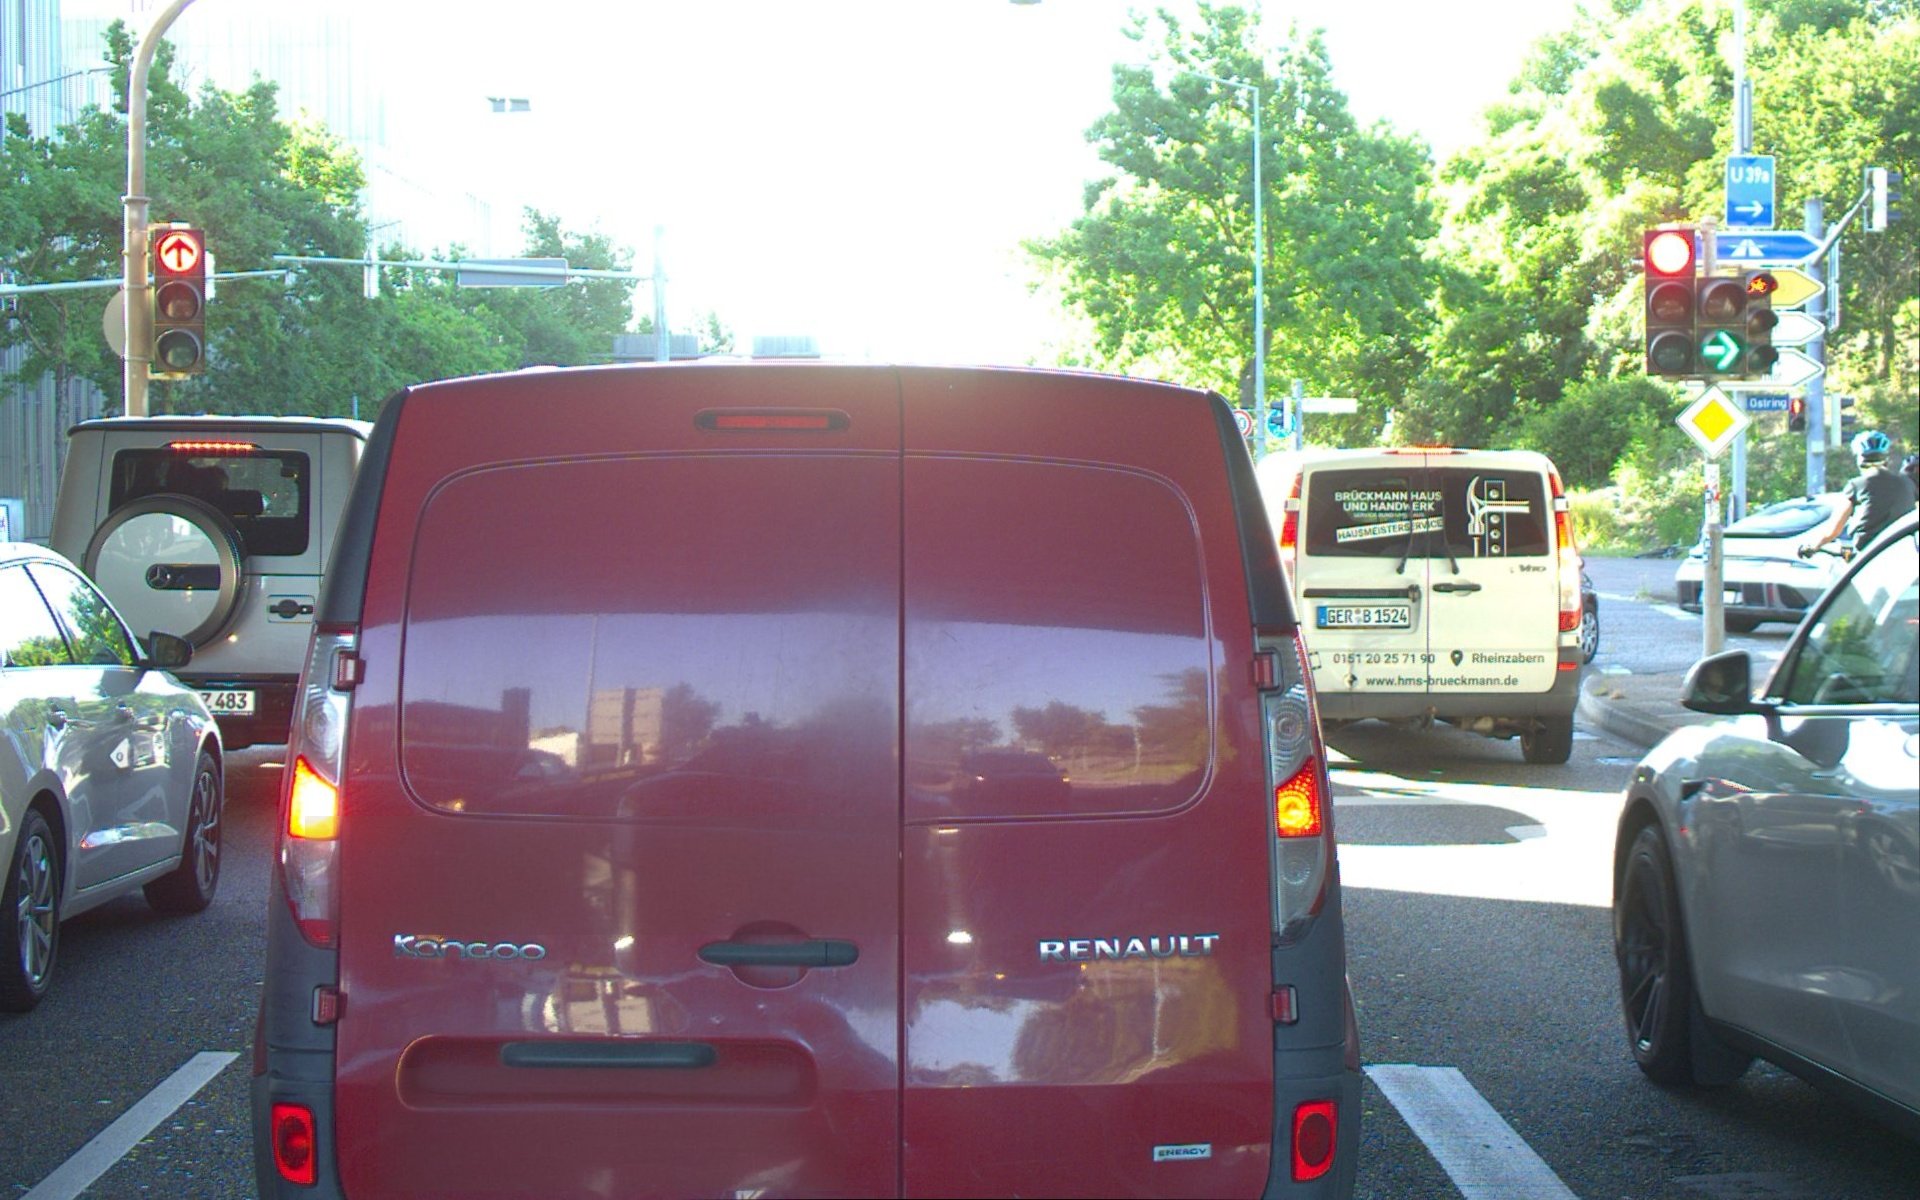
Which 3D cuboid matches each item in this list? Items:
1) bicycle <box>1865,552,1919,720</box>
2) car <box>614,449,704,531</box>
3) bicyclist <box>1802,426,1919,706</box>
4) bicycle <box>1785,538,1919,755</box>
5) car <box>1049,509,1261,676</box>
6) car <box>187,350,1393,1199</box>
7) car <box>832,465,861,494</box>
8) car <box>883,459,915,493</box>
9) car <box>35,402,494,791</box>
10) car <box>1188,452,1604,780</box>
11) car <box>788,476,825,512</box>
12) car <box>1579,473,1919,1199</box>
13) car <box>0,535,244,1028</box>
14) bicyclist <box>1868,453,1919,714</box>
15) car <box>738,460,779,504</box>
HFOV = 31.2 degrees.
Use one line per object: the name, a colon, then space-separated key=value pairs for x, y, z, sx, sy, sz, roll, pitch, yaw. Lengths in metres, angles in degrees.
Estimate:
bicycle: x=6.105 y=0.217 z=21.583 sx=0.677 sy=1.020 sz=1.528 roll=1 pitch=1 yaw=10
car: x=-7.803 y=-2.839 z=89.444 sx=1.993 sy=2.007 sz=4.000 roll=1 pitch=1 yaw=-1
bicyclist: x=5.125 y=-0.194 z=19.260 sx=0.653 sy=1.528 sz=0.847 roll=0 pitch=1 yaw=4
bicycle: x=5.139 y=0.238 z=19.412 sx=0.651 sy=1.163 sz=1.778 roll=0 pitch=1 yaw=4
car: x=1.761 y=-0.102 z=32.087 sx=1.745 sy=1.451 sz=3.717 roll=1 pitch=1 yaw=0
car: x=-0.270 y=0.490 z=6.948 sx=1.719 sy=1.758 sz=4.000 roll=1 pitch=1 yaw=-1
car: x=-8.164 y=-8.648 z=247.078 sx=1.929 sy=2.007 sz=3.914 roll=1 pitch=1 yaw=-1
car: x=-3.915 y=-7.959 z=220.618 sx=1.993 sy=2.007 sz=4.000 roll=1 pitch=1 yaw=-1
car: x=-3.692 y=-0.053 z=18.881 sx=1.813 sy=1.897 sz=3.814 roll=1 pitch=1 yaw=-1
car: x=2.625 y=0.023 z=21.853 sx=1.897 sy=1.830 sz=4.836 roll=1 pitch=2 yaw=-1
car: x=-9.053 y=-6.214 z=202.579 sx=1.993 sy=2.007 sz=4.000 roll=1 pitch=1 yaw=-1
car: x=2.848 y=0.501 z=7.561 sx=1.993 sy=1.546 sz=4.422 roll=0 pitch=2 yaw=-2
car: x=-3.621 y=0.488 z=11.480 sx=1.692 sy=1.405 sz=3.813 roll=1 pitch=1 yaw=-1
bicyclist: x=6.120 y=-0.102 z=21.674 sx=0.677 sy=1.623 sz=0.644 roll=1 pitch=0 yaw=10
car: x=-9.653 y=-5.672 z=165.201 sx=1.748 sy=2.007 sz=3.845 roll=1 pitch=1 yaw=-1
